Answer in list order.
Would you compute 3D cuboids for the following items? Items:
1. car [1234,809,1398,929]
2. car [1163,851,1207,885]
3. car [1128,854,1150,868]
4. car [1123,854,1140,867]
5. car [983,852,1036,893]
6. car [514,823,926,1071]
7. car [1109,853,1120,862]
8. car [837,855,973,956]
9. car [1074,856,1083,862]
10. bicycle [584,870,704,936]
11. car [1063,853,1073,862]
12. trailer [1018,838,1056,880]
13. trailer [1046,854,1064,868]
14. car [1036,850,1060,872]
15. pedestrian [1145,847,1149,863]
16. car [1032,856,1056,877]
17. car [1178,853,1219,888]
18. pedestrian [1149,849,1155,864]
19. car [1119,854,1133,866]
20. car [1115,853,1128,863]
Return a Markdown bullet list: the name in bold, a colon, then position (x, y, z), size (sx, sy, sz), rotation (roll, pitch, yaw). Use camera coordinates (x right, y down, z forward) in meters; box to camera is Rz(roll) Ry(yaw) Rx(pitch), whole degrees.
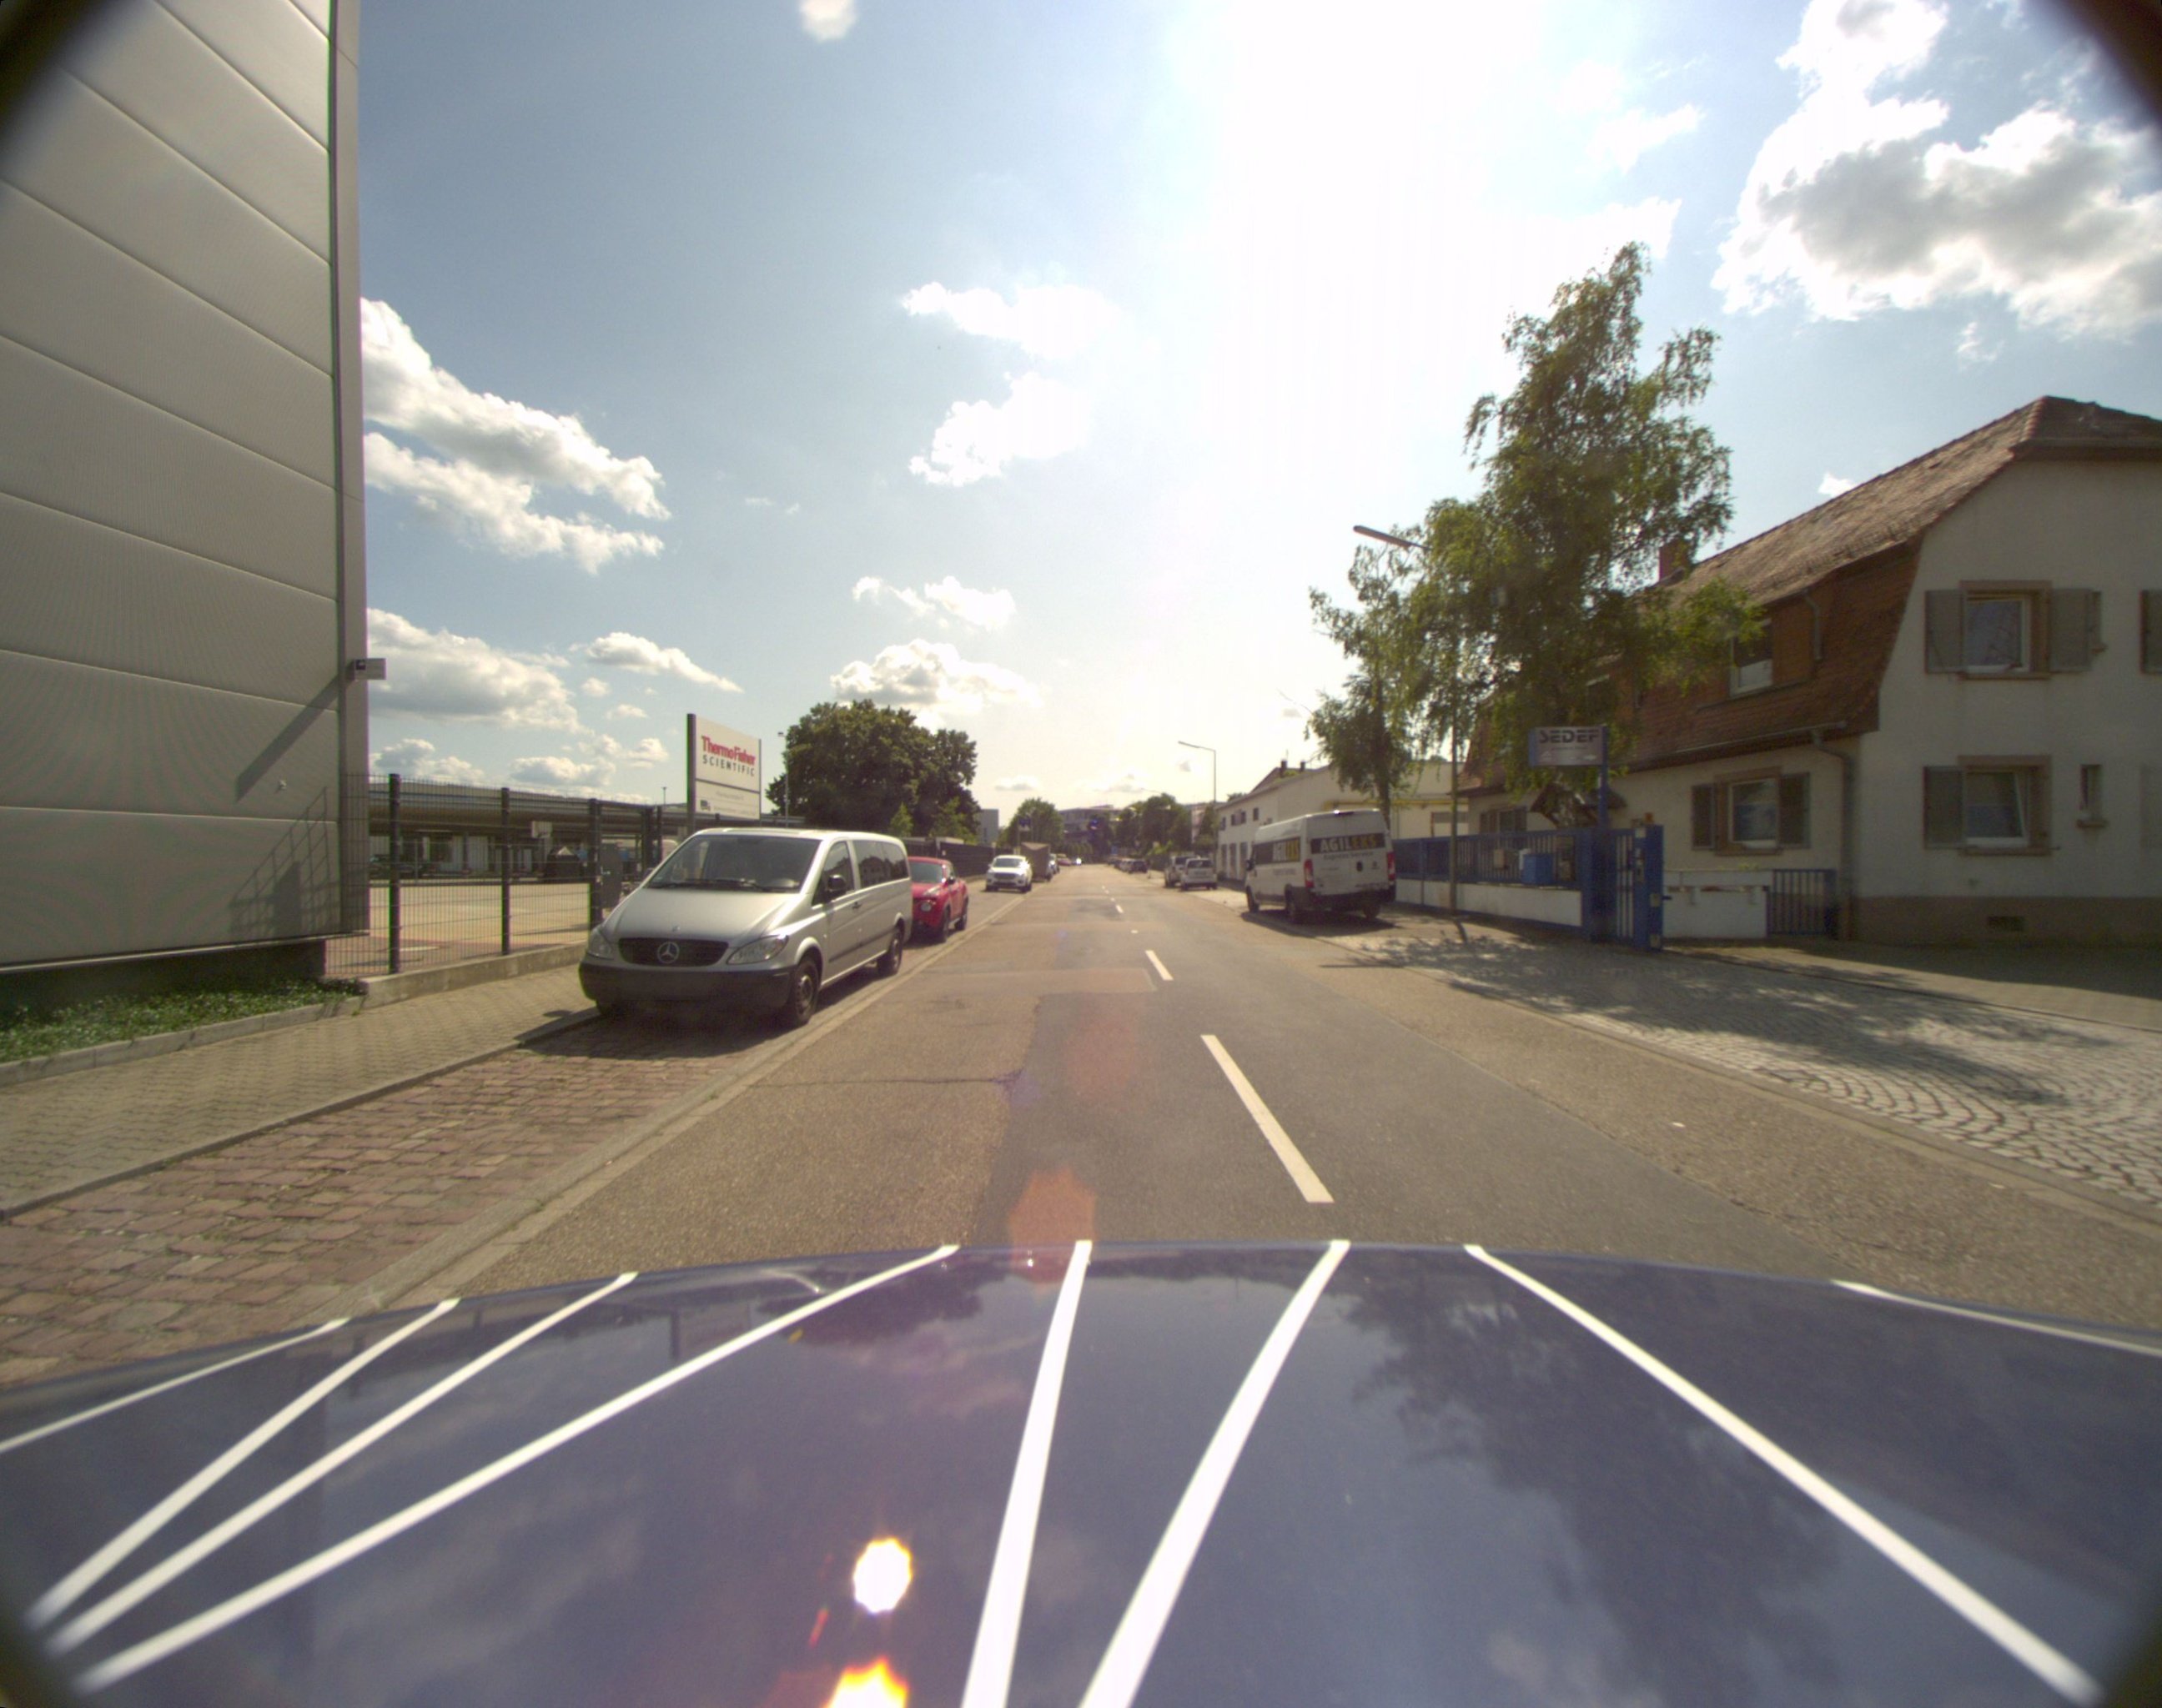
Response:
- **car**: position (5.831, 0.298, 19.963), size (2.035, 2.543, 6.655), rotation (-3, 1, -1)
- **car**: position (5.723, 0.712, 42.444), size (1.795, 1.709, 4.751), rotation (-3, 0, 1)
- **car**: position (5.990, 0.712, 79.007), size (1.810, 1.410, 4.496), rotation (-2, 0, -1)
- **car**: position (6.034, 0.815, 91.434), size (1.625, 1.513, 4.174), rotation (-1, 0, -2)
- **car**: position (-3.240, 0.814, 35.343), size (1.940, 1.683, 4.679), rotation (2, 0, 0)
- **car**: position (-3.463, 0.747, 8.729), size (2.059, 1.892, 5.147), rotation (3, 0, 2)
- **car**: position (6.619, 0.676, 152.042), size (1.762, 1.565, 4.475), rotation (-1, 1, -3)
- **car**: position (-3.319, 0.896, 15.127), size (1.708, 1.615, 4.092), rotation (3, 0, 0)
- **car**: position (-0.509, 1.003, 161.747), size (1.758, 1.211, 4.224), rotation (0, 0, 0)
- **bicycle**: position (-7.956, 0.881, 13.852), size (1.954, 1.136, 0.457), rotation (1, 1, 3)
- **car**: position (-2.429, 0.619, 140.932), size (1.758, 1.478, 4.224), rotation (3, 0, 0)
- **trailer**: position (-3.024, 0.320, 54.004), size (2.210, 2.721, 6.220), rotation (3, 1, 0)
- **trailer**: position (-2.851, 0.751, 83.120), size (1.754, 1.409, 4.547), rotation (2, 1, -5)
- **car**: position (-3.125, 0.601, 72.879), size (1.998, 2.002, 5.649), rotation (0, 0, 0)
- **pedestrian**: position (8.098, 0.120, 93.108), size (0.452, 1.883, 0.677), rotation (-1, 1, 0)
- **car**: position (-2.889, 0.974, 60.437), size (1.695, 1.452, 4.070), rotation (2, 1, -1)
- **car**: position (5.778, 0.799, 37.587), size (1.613, 1.565, 3.009), rotation (-4, 0, 3)
- **pedestrian**: position (8.713, 0.268, 93.470), size (0.710, 1.790, 0.916), rotation (-1, 1, 0)
- **car**: position (5.921, 0.751, 100.677), size (1.649, 1.468, 4.028), rotation (-1, 1, 0)
- **car**: position (6.449, 0.573, 122.182), size (1.849, 1.499, 4.000), rotation (-3, 0, 0)
